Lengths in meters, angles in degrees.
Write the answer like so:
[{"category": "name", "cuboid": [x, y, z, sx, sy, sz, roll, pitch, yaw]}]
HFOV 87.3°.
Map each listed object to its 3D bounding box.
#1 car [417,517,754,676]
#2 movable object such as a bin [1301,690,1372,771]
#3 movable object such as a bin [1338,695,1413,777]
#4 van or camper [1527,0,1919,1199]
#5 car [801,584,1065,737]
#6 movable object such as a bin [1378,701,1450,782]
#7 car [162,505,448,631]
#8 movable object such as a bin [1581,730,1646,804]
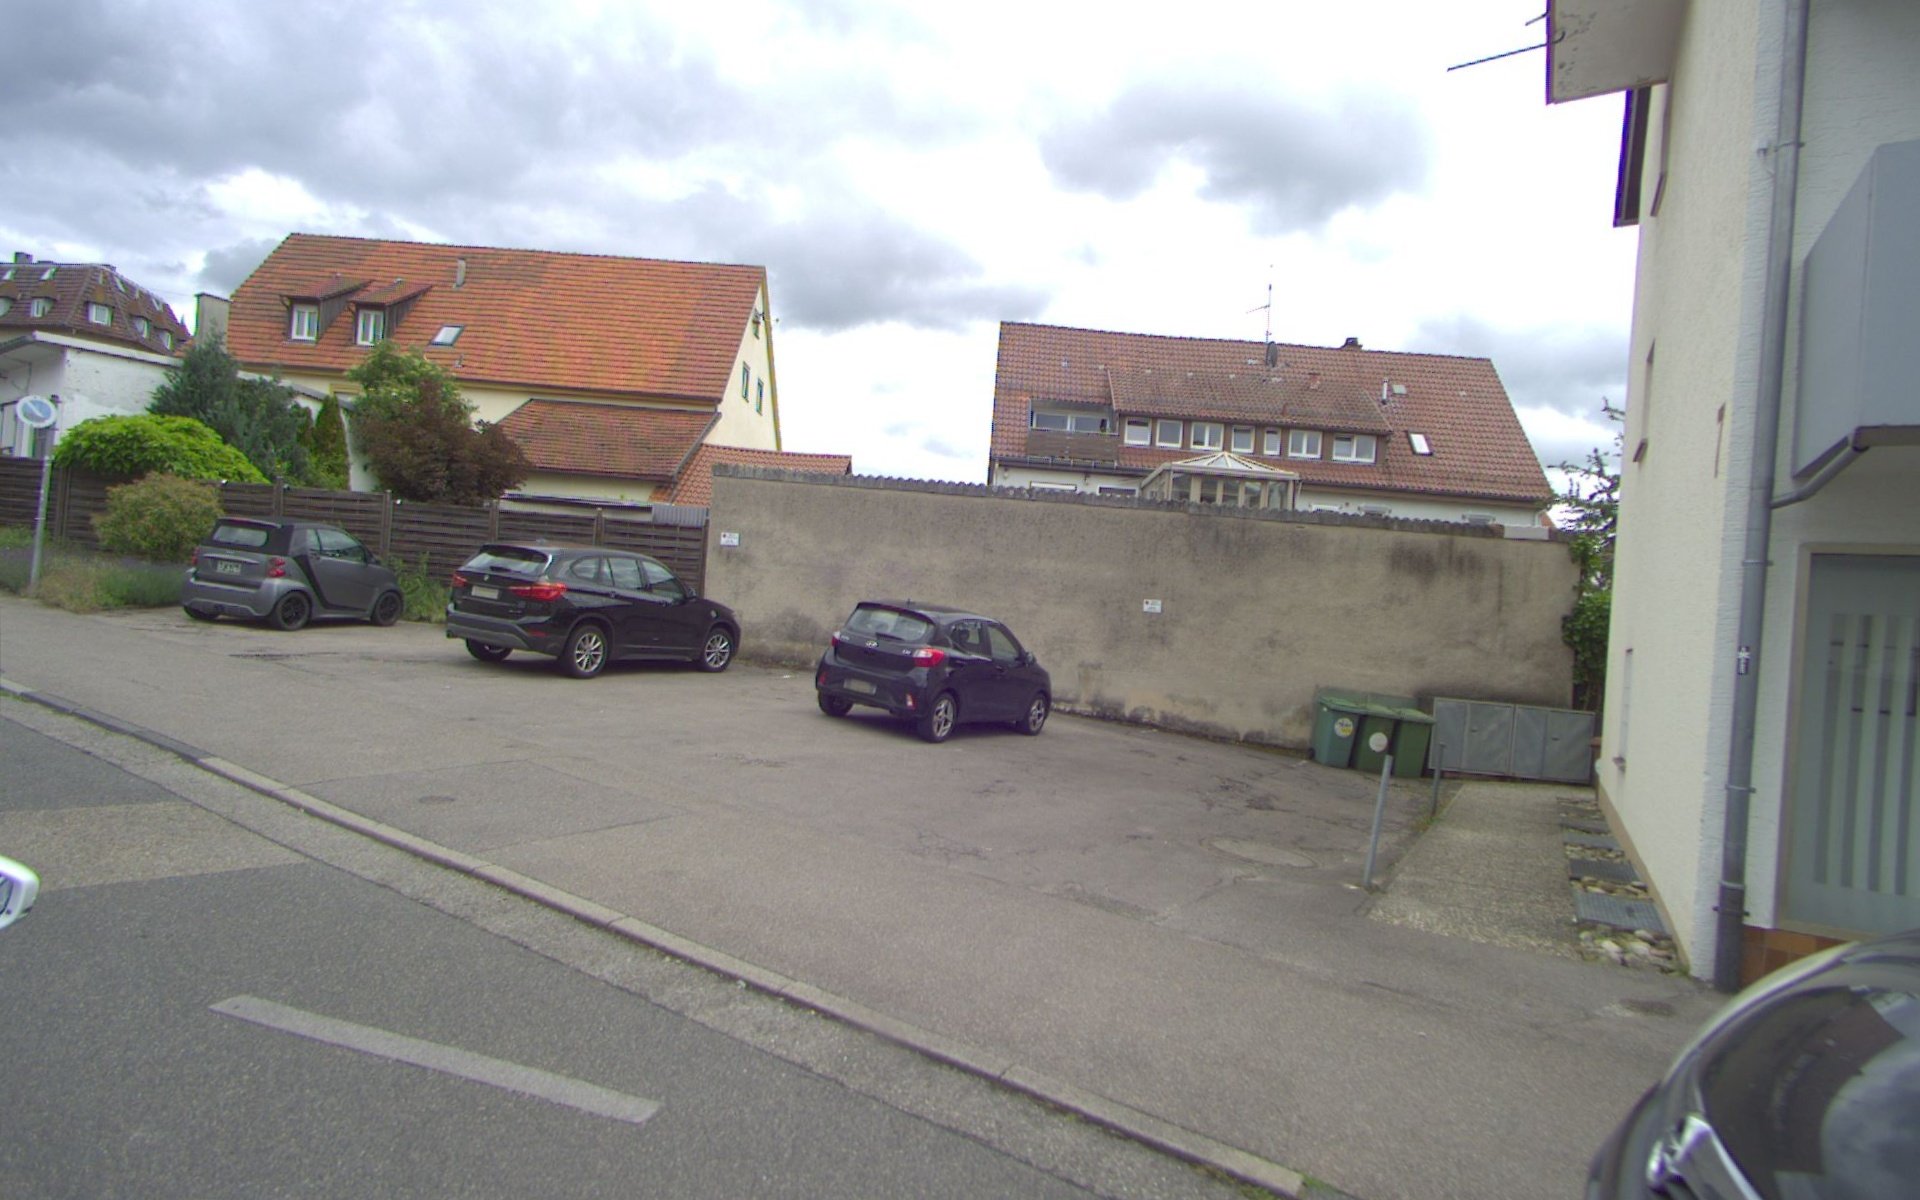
[{"category": "car", "cuboid": [-4.826, 0.006, 13.655, 1.869, 1.675, 4.122, 7, 1, 22]}, {"category": "movable object such as a bin", "cuboid": [6.121, 2.104, 16.408, 0.631, 1.117, 0.937, 11, 0, 2]}, {"category": "movable object such as a bin", "cuboid": [6.753, 2.194, 16.386, 0.666, 1.117, 0.937, 11, 0, 2]}, {"category": "van or camper", "cuboid": [3.235, 0.818, 0.498, 4.978, 2.036, 1.999, 7, -2, 30]}, {"category": "car", "cuboid": [-0.206, 0.817, 12.702, 1.697, 1.504, 3.321, 7, -2, 30]}, {"category": "movable object such as a bin", "cuboid": [7.367, 2.285, 16.359, 0.570, 1.117, 0.937, 11, 0, 2]}, {"category": "car", "cuboid": [-9.694, -0.415, 15.197, 1.671, 1.538, 3.323, 6, 1, 12]}, {"category": "movable object such as a bin", "cuboid": [9.396, 2.389, 14.485, 0.569, 0.952, 0.655, 1, -2, 12]}]
